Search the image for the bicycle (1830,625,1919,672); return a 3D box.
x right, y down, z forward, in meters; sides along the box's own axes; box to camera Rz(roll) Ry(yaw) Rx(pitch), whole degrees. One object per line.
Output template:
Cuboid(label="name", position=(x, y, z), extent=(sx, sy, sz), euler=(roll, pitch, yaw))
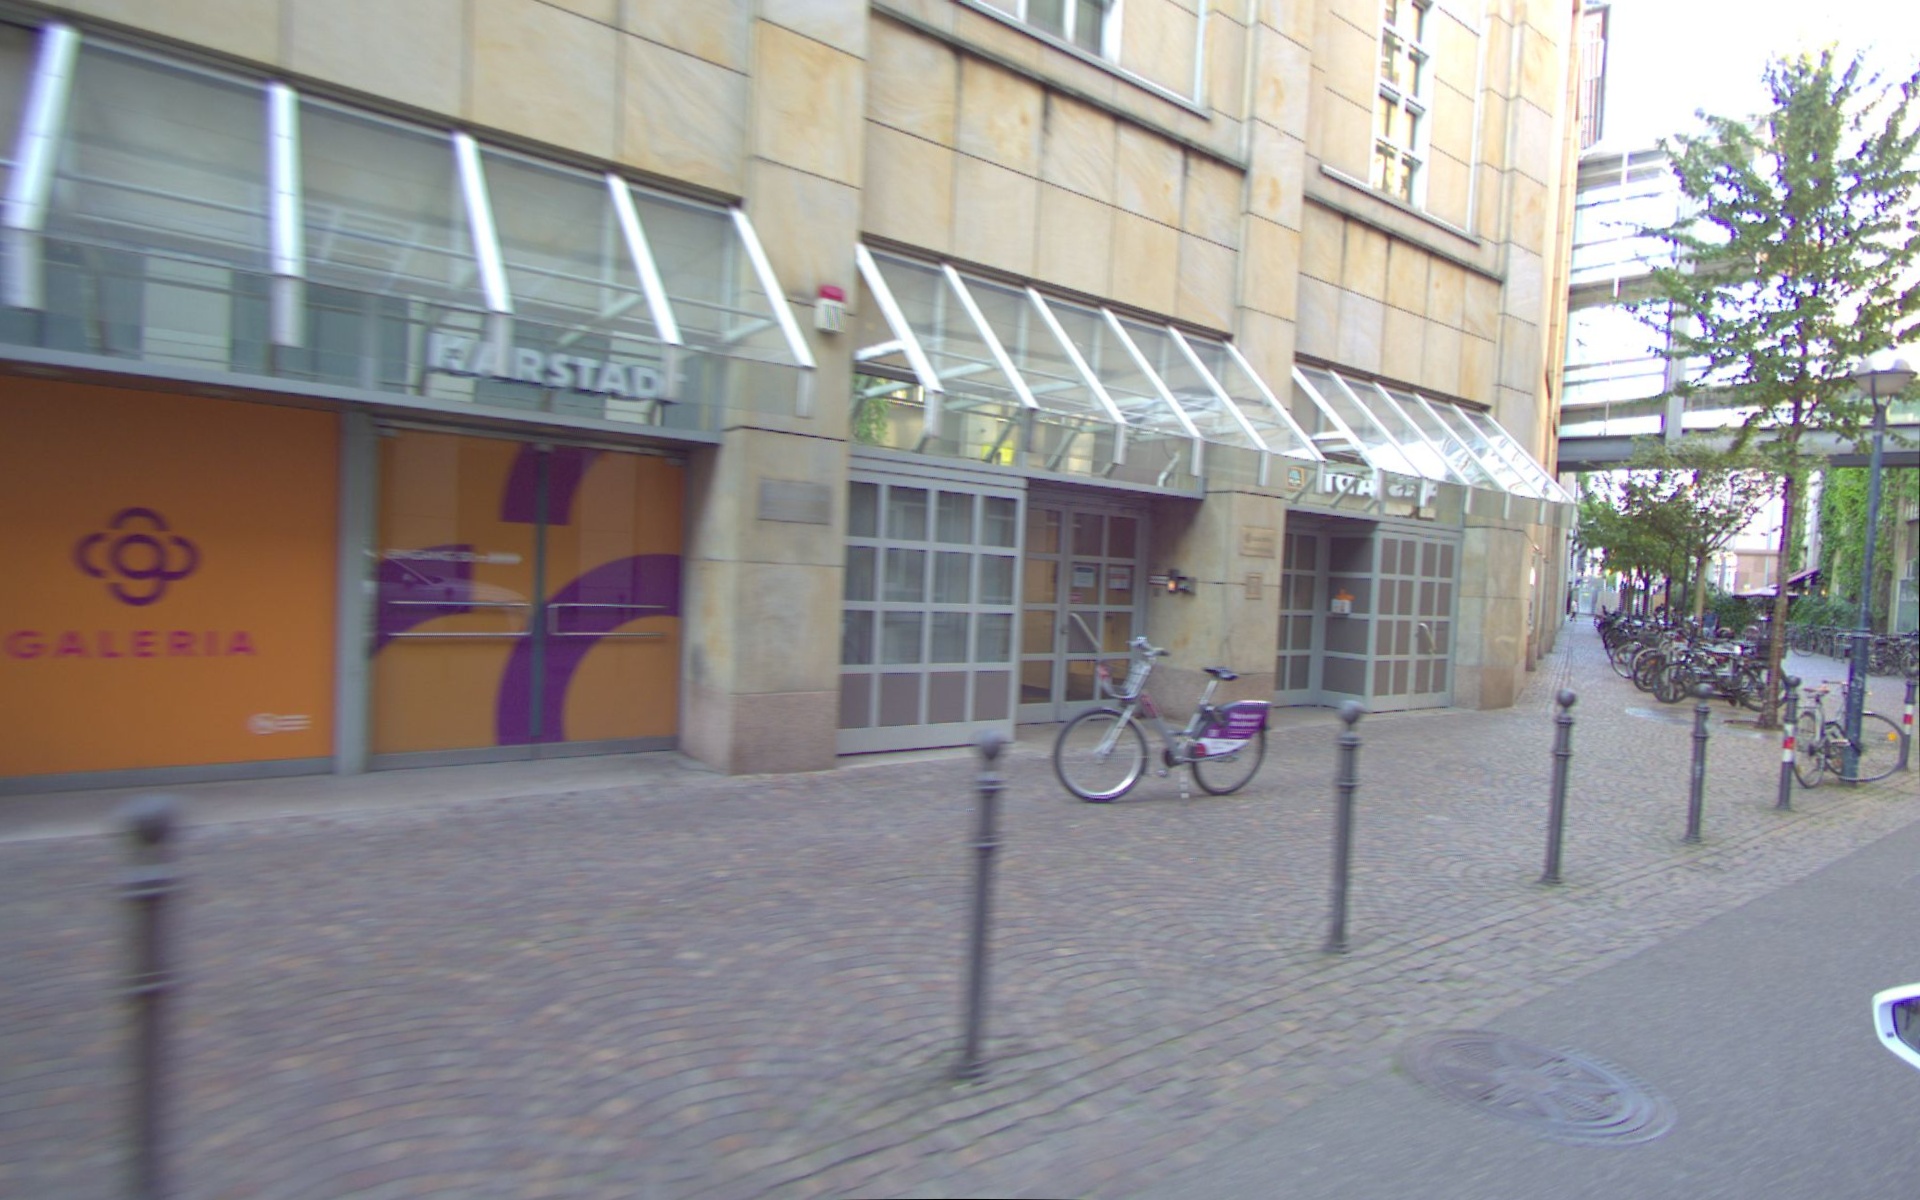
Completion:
Cuboid(label="bicycle", position=(25.106, 1.316, 27.413), extent=(1.967, 1.198, 0.800), euler=(1, 1, 35))

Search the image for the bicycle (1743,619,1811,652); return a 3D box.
Cuboid(label="bicycle", position=(31.681, 1.374, 38.966), extent=(1.967, 1.198, 0.692), euler=(1, 1, 35))

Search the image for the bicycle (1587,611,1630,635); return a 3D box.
Cuboid(label="bicycle", position=(35.757, 1.253, 55.382), extent=(1.888, 1.198, 0.693), euler=(3, 2, 37))

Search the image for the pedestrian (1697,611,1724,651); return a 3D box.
Cuboid(label="pedestrian", position=(29.917, 1.222, 40.067), extent=(0.737, 1.529, 0.636), euler=(3, 1, 32))

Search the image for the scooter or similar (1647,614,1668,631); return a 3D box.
Cuboid(label="scooter or similar", position=(37.595, 1.226, 54.141), extent=(0.879, 0.854, 0.909), euler=(3, 1, 32))

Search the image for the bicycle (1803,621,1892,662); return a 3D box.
Cuboid(label="bicycle", position=(27.503, 1.271, 31.170), extent=(1.967, 1.198, 0.692), euler=(1, 1, 35))

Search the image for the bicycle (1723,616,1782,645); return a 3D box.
Cuboid(label="bicycle", position=(34.608, 1.304, 43.883), extent=(1.967, 1.198, 0.692), euler=(1, 1, 35))

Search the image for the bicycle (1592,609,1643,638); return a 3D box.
Cuboid(label="bicycle", position=(30.388, 1.079, 46.470), extent=(1.888, 1.198, 0.693), euler=(3, 2, 37))

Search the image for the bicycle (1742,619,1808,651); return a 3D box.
Cuboid(label="bicycle", position=(32.161, 1.366, 39.673), extent=(1.967, 1.198, 0.692), euler=(1, 1, 35))

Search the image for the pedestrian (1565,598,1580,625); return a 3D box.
Cuboid(label="pedestrian", position=(42.577, 0.798, 69.864), extent=(0.763, 1.828, 0.633), euler=(3, 1, 28))

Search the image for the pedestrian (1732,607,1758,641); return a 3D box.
Cuboid(label="pedestrian", position=(42.637, 1.299, 54.562), extent=(0.758, 1.828, 0.771), euler=(1, 1, -27))

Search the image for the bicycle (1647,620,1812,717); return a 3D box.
Cuboid(label="bicycle", position=(11.634, 1.000, 15.281), extent=(1.887, 1.278, 0.806), euler=(3, 2, 34))

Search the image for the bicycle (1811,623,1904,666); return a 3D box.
Cuboid(label="bicycle", position=(26.914, 1.323, 30.168), extent=(1.967, 1.198, 0.692), euler=(1, 1, 35))

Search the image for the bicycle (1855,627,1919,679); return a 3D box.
Cuboid(label="bicycle", position=(23.083, 1.291, 24.343), extent=(1.967, 1.198, 0.694), euler=(1, 1, 35))

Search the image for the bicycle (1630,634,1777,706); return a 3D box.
Cuboid(label="bicycle", position=(12.314, 1.136, 16.728), extent=(1.887, 1.007, 0.694), euler=(3, 2, 34))

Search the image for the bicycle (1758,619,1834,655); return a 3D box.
Cuboid(label="bicycle", position=(29.501, 1.285, 35.473), extent=(1.967, 1.198, 0.692), euler=(1, 1, 35))

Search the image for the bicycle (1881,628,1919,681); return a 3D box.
Cuboid(label="bicycle", position=(22.779, 1.283, 23.309), extent=(1.967, 1.198, 0.694), euler=(1, 1, 35))

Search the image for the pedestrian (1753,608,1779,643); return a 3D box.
Cuboid(label="pedestrian", position=(43.074, 1.338, 53.671), extent=(0.758, 1.828, 0.771), euler=(1, 1, -27))

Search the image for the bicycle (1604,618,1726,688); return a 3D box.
Cuboid(label="bicycle", position=(13.819, 1.015, 19.735), extent=(1.888, 1.198, 0.693), euler=(3, 2, 37))

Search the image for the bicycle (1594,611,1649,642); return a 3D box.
Cuboid(label="bicycle", position=(28.182, 1.131, 42.798), extent=(1.888, 1.198, 0.693), euler=(3, 2, 37))

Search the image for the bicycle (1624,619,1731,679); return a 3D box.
Cuboid(label="bicycle", position=(16.190, 1.083, 22.701), extent=(1.888, 1.198, 0.693), euler=(3, 2, 37))

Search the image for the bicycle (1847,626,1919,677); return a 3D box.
Cuboid(label="bicycle", position=(23.582, 1.293, 25.144), extent=(1.967, 1.198, 0.800), euler=(1, 1, 35))

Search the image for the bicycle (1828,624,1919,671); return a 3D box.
Cuboid(label="bicycle", position=(25.735, 1.318, 28.214), extent=(1.967, 1.198, 0.692), euler=(1, 1, 35))

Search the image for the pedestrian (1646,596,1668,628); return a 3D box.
Cuboid(label="pedestrian", position=(38.091, 0.652, 54.900), extent=(0.879, 1.661, 0.909), euler=(3, 1, 32))

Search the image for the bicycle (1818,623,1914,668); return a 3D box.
Cuboid(label="bicycle", position=(26.184, 1.303, 29.086), extent=(1.967, 1.198, 0.692), euler=(1, 1, 35))

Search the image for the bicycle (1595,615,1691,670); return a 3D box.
Cuboid(label="bicycle", position=(16.854, 1.021, 24.799), extent=(1.888, 1.198, 0.693), euler=(3, 2, 37))

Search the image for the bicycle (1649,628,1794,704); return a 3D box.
Cuboid(label="bicycle", position=(13.042, 1.108, 17.276), extent=(1.887, 1.116, 0.694), euler=(3, 2, 34))

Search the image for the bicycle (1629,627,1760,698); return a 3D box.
Cuboid(label="bicycle", position=(13.551, 1.128, 18.579), extent=(1.888, 1.116, 0.693), euler=(3, 2, 37))

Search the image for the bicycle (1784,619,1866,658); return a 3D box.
Cuboid(label="bicycle", position=(28.752, 1.267, 33.435), extent=(1.967, 1.198, 0.692), euler=(1, 1, 35))

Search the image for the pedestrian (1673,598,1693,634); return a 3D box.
Cuboid(label="pedestrian", position=(38.235, 0.849, 53.137), extent=(0.754, 1.828, 0.775), euler=(3, 1, 32))

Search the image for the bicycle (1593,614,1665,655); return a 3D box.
Cuboid(label="bicycle", position=(22.070, 1.115, 33.146), extent=(1.888, 1.198, 0.693), euler=(3, 2, 37))

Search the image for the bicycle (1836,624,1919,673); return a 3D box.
Cuboid(label="bicycle", position=(24.214, 1.247, 26.188), extent=(1.967, 1.198, 0.800), euler=(1, 1, 35))

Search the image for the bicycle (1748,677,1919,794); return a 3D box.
Cuboid(label="bicycle", position=(8.159, 1.226, 9.344), extent=(1.670, 0.979, 0.504), euler=(2, 1, -22))

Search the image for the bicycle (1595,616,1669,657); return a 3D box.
Cuboid(label="bicycle", position=(21.642, 1.167, 32.372), extent=(1.888, 1.198, 0.693), euler=(3, 2, 37))

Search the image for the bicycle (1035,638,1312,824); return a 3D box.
Cuboid(label="bicycle", position=(1.469, 0.856, 6.922), extent=(1.751, 1.127, 0.692), euler=(2, 1, -22))

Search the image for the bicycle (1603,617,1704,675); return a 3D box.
Cuboid(label="bicycle", position=(16.359, 1.066, 23.719), extent=(1.888, 1.198, 0.693), euler=(3, 2, 37))
